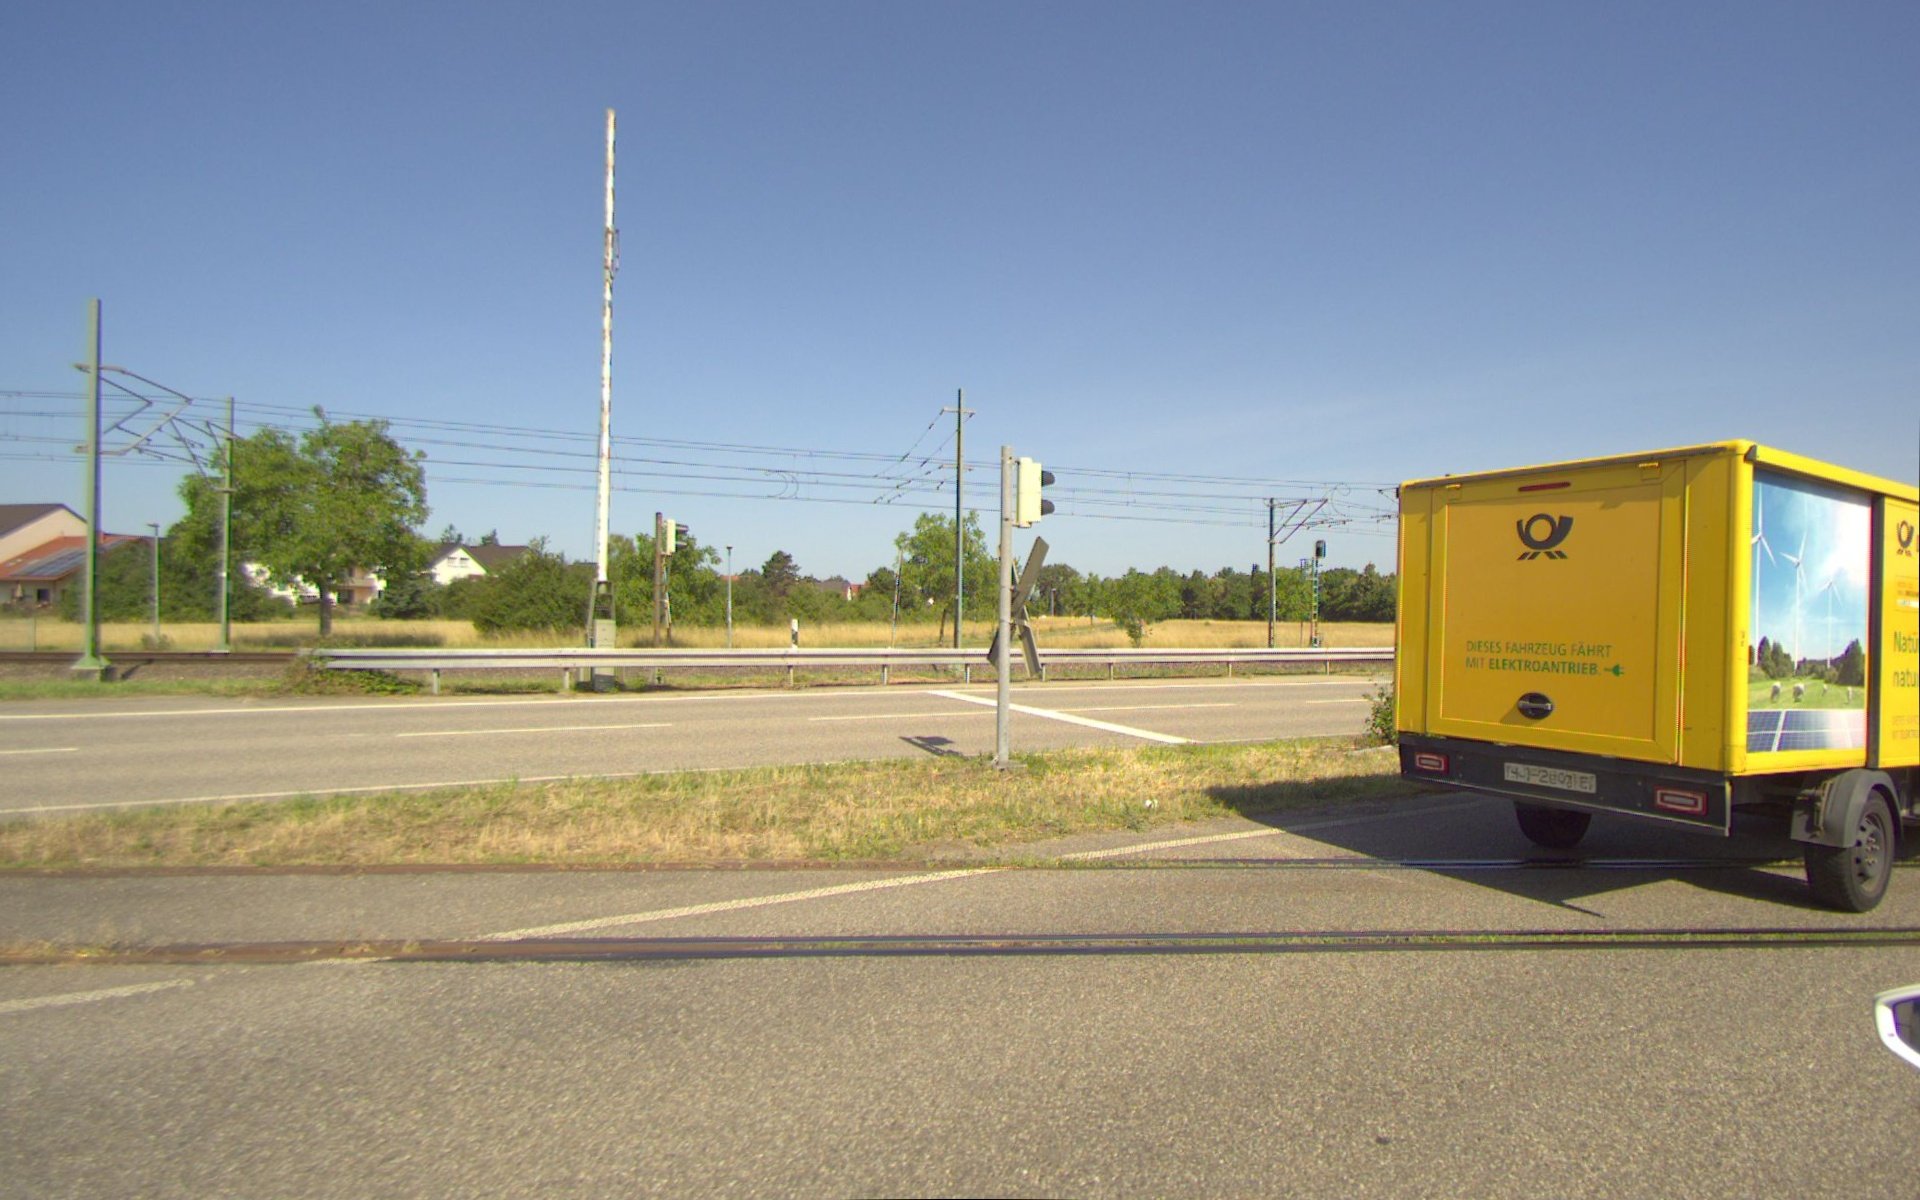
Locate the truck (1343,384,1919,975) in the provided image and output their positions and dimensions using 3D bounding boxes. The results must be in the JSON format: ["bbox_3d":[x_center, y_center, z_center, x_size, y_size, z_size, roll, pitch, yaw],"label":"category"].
[{"bbox_3d":[5.345,0.403,6.671,5.849,2.490,2.101,1,-1,-31],"label":"truck"}]
